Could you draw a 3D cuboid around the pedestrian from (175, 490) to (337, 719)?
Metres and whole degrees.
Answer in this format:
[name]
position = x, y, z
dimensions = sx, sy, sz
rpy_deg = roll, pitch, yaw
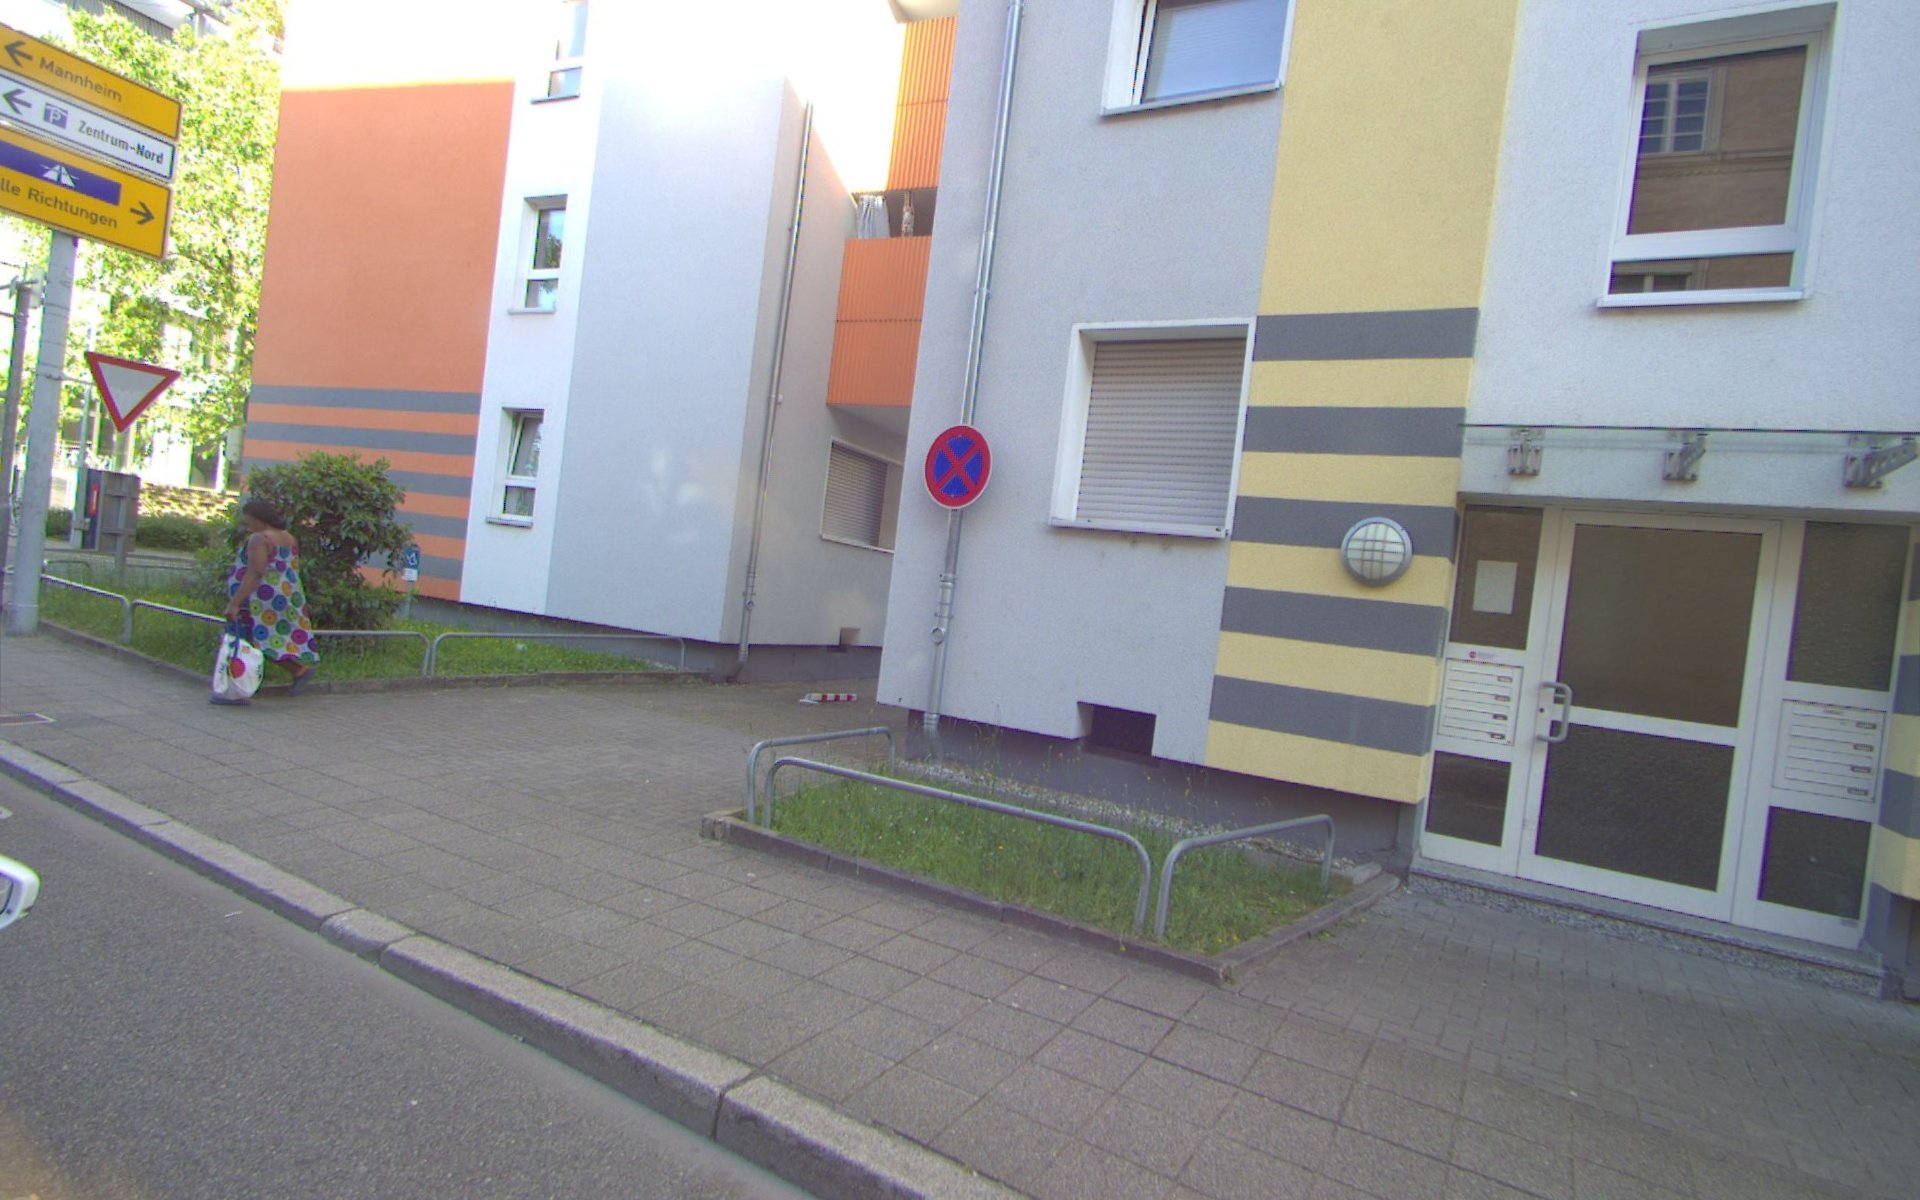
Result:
[pedestrian]
position = -5.285, 0.019, 7.613
dimensions = 0.740, 1.595, 0.951
rpy_deg = 4, 4, -22

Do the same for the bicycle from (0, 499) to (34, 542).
[bicycle]
position = -26.429, -2.250, 27.290
dimensions = 1.883, 1.062, 0.463
rpy_deg = 7, 1, -10
